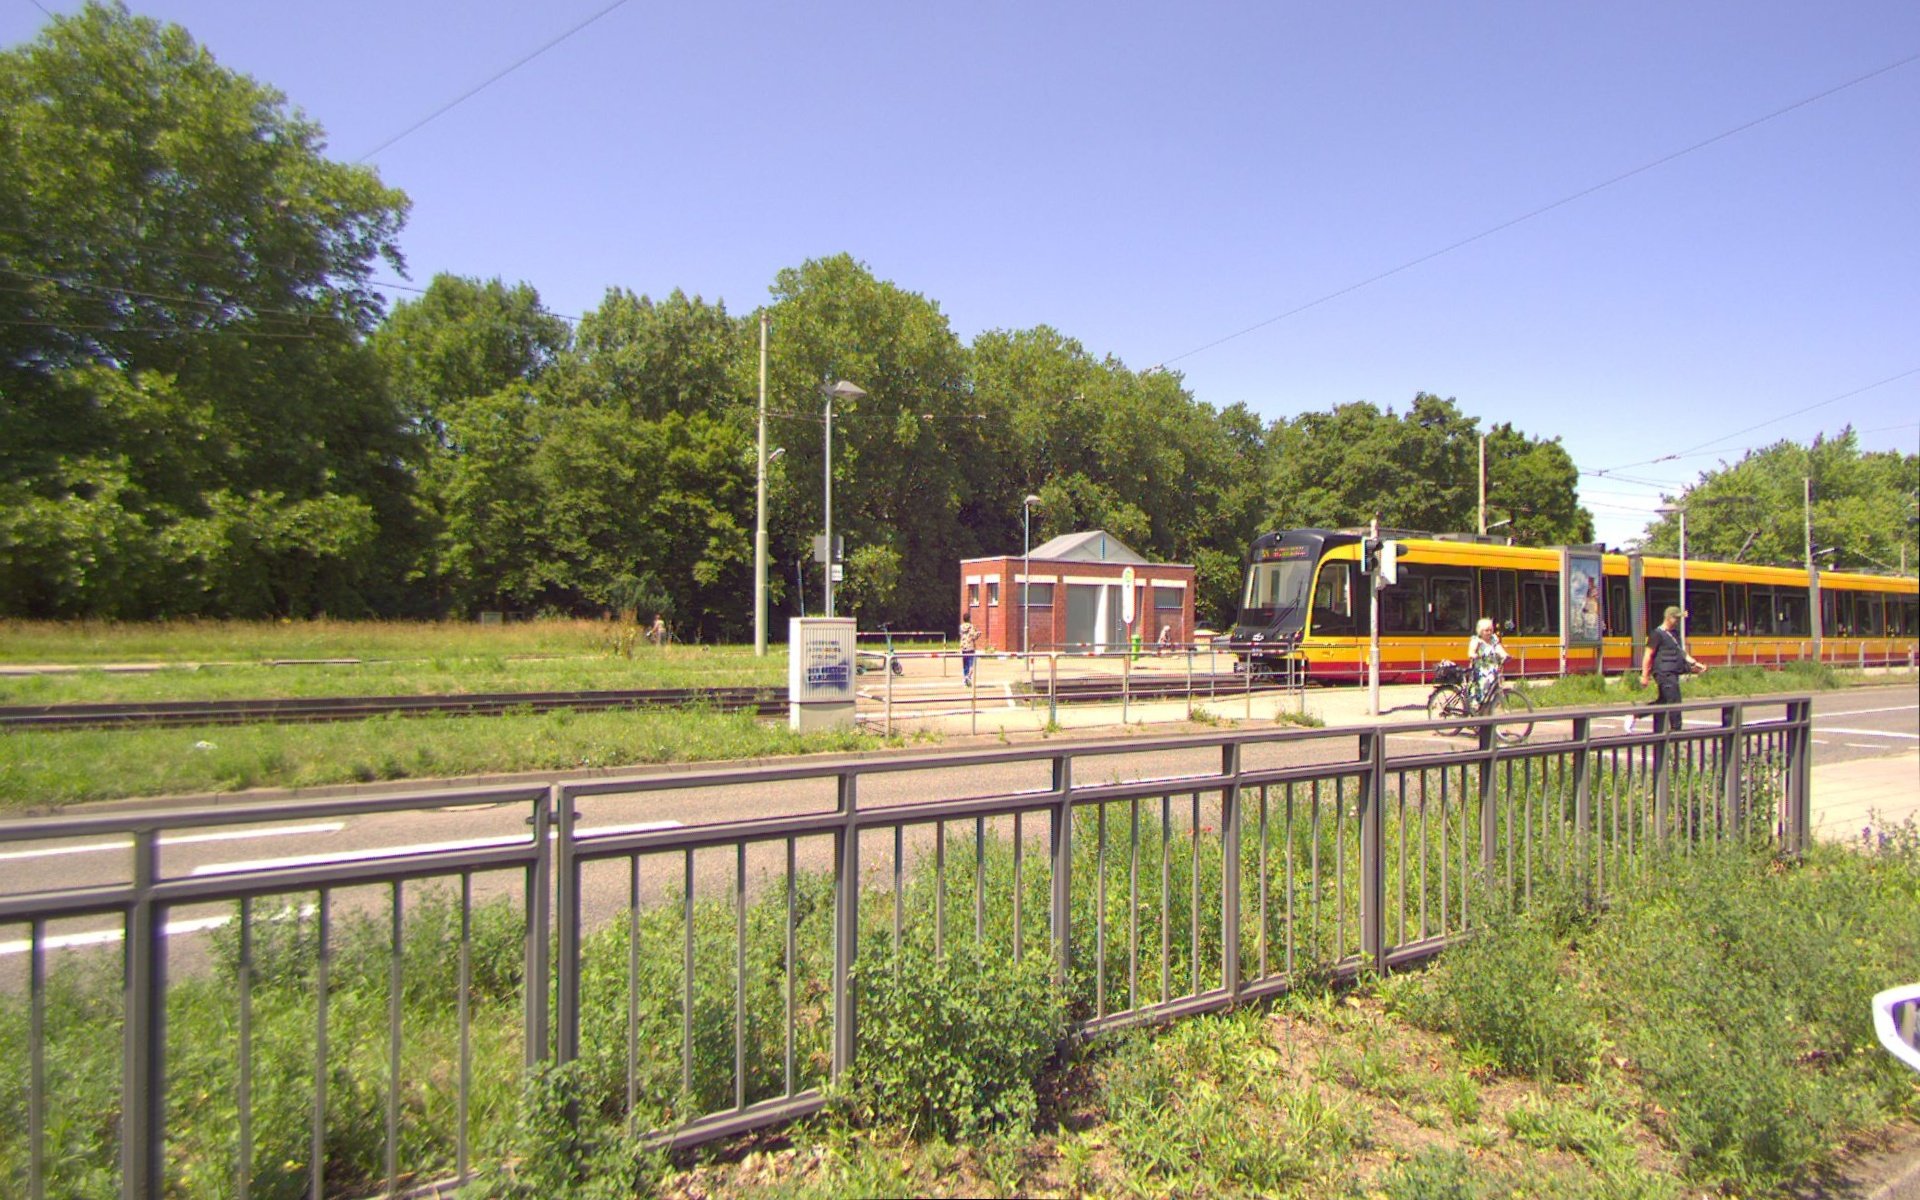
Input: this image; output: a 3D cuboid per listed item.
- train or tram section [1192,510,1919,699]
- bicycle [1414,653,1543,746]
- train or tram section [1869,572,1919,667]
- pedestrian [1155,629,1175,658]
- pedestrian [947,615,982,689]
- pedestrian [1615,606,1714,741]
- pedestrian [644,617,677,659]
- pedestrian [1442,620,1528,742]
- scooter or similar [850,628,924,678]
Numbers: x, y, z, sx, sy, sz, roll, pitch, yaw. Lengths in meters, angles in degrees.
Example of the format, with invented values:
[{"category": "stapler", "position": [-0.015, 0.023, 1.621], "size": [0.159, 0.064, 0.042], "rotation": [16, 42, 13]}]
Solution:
[{"category": "train or tram section", "position": [21.784, 0.435, 30.440], "size": [37.078, 3.717, 2.774], "rotation": [1, -1, -31]}, {"category": "bicycle", "position": [7.176, 1.345, 14.001], "size": [0.239, 1.172, 1.858], "rotation": [1, -2, -24]}, {"category": "train or tram section", "position": [48.851, 1.007, 46.344], "size": [25.694, 3.717, 2.774], "rotation": [1, -1, -31]}, {"category": "pedestrian", "position": [7.315, 1.556, 35.818], "size": [0.516, 1.032, 0.479], "rotation": [1, -1, -28]}, {"category": "pedestrian", "position": [0.105, 1.110, 21.628], "size": [0.527, 1.561, 0.869], "rotation": [0, -1, 16]}, {"category": "pedestrian", "position": [9.810, 1.000, 14.020], "size": [0.691, 1.820, 0.961], "rotation": [1, -1, -1]}, {"category": "pedestrian", "position": [-12.802, 1.614, 42.887], "size": [1.245, 1.724, 0.517], "rotation": [1, -1, 15]}, {"category": "pedestrian", "position": [7.393, 1.116, 14.155], "size": [0.695, 1.650, 0.817], "rotation": [1, -1, -24]}, {"category": "scooter or similar", "position": [-1.744, 1.252, 24.086], "size": [1.640, 1.142, 0.613], "rotation": [0, -1, 15]}]
